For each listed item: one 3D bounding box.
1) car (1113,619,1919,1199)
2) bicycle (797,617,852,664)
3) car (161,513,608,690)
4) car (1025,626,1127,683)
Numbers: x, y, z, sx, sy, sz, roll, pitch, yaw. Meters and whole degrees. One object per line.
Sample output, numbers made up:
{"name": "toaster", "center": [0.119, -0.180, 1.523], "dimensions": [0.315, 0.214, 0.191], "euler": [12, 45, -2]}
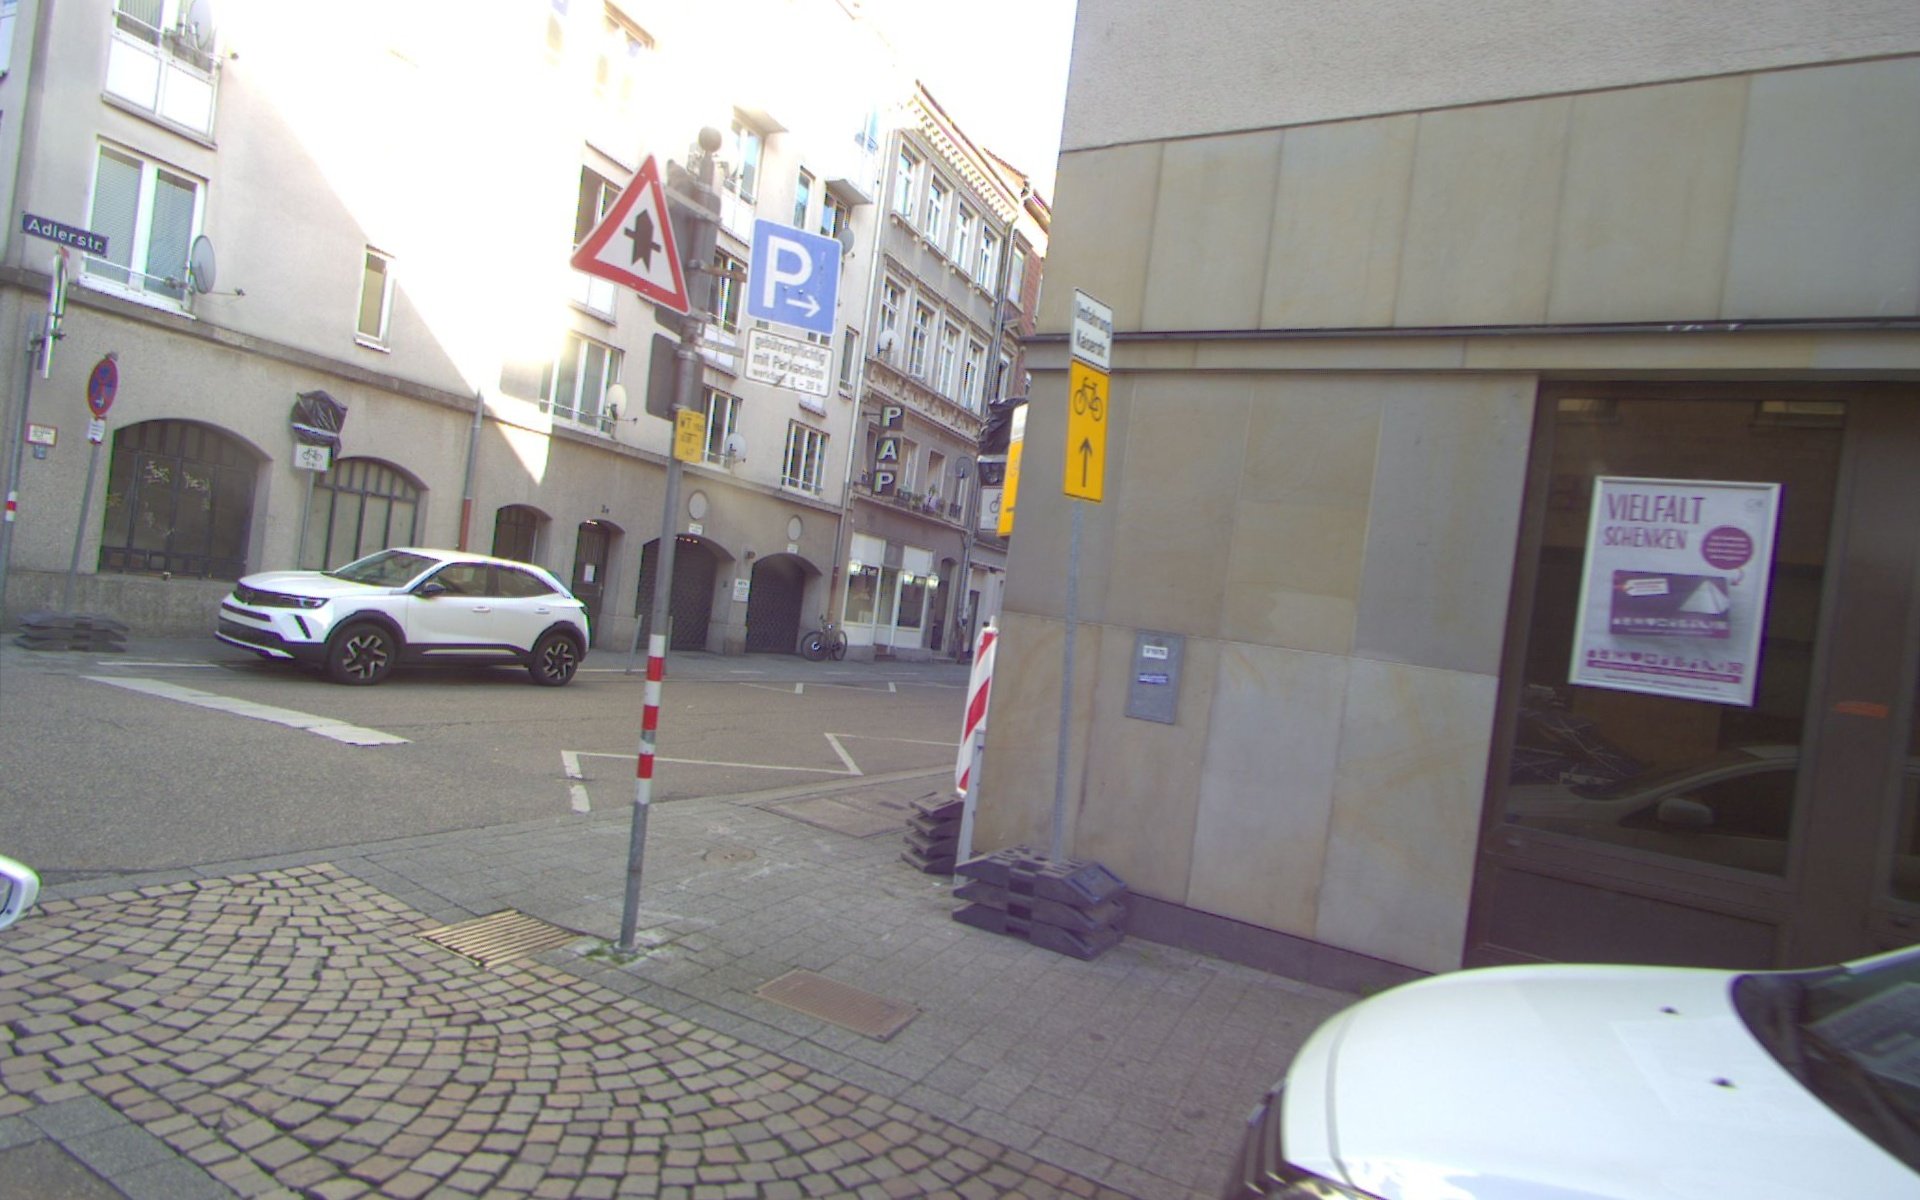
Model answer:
{"name": "car", "center": [2.378, 1.095, 1.299], "dimensions": [3.990, 1.536, 1.894], "euler": [7, -1, 26]}
{"name": "bicycle", "center": [-3.277, 0.991, 24.405], "dimensions": [0.460, 1.032, 1.463], "euler": [7, -1, 26]}
{"name": "car", "center": [-6.649, 0.144, 12.176], "dimensions": [1.869, 1.571, 4.226], "euler": [7, -2, 28]}
{"name": "car", "center": [4.022, 1.912, 34.352], "dimensions": [1.963, 1.543, 4.354], "euler": [7, -1, 26]}
